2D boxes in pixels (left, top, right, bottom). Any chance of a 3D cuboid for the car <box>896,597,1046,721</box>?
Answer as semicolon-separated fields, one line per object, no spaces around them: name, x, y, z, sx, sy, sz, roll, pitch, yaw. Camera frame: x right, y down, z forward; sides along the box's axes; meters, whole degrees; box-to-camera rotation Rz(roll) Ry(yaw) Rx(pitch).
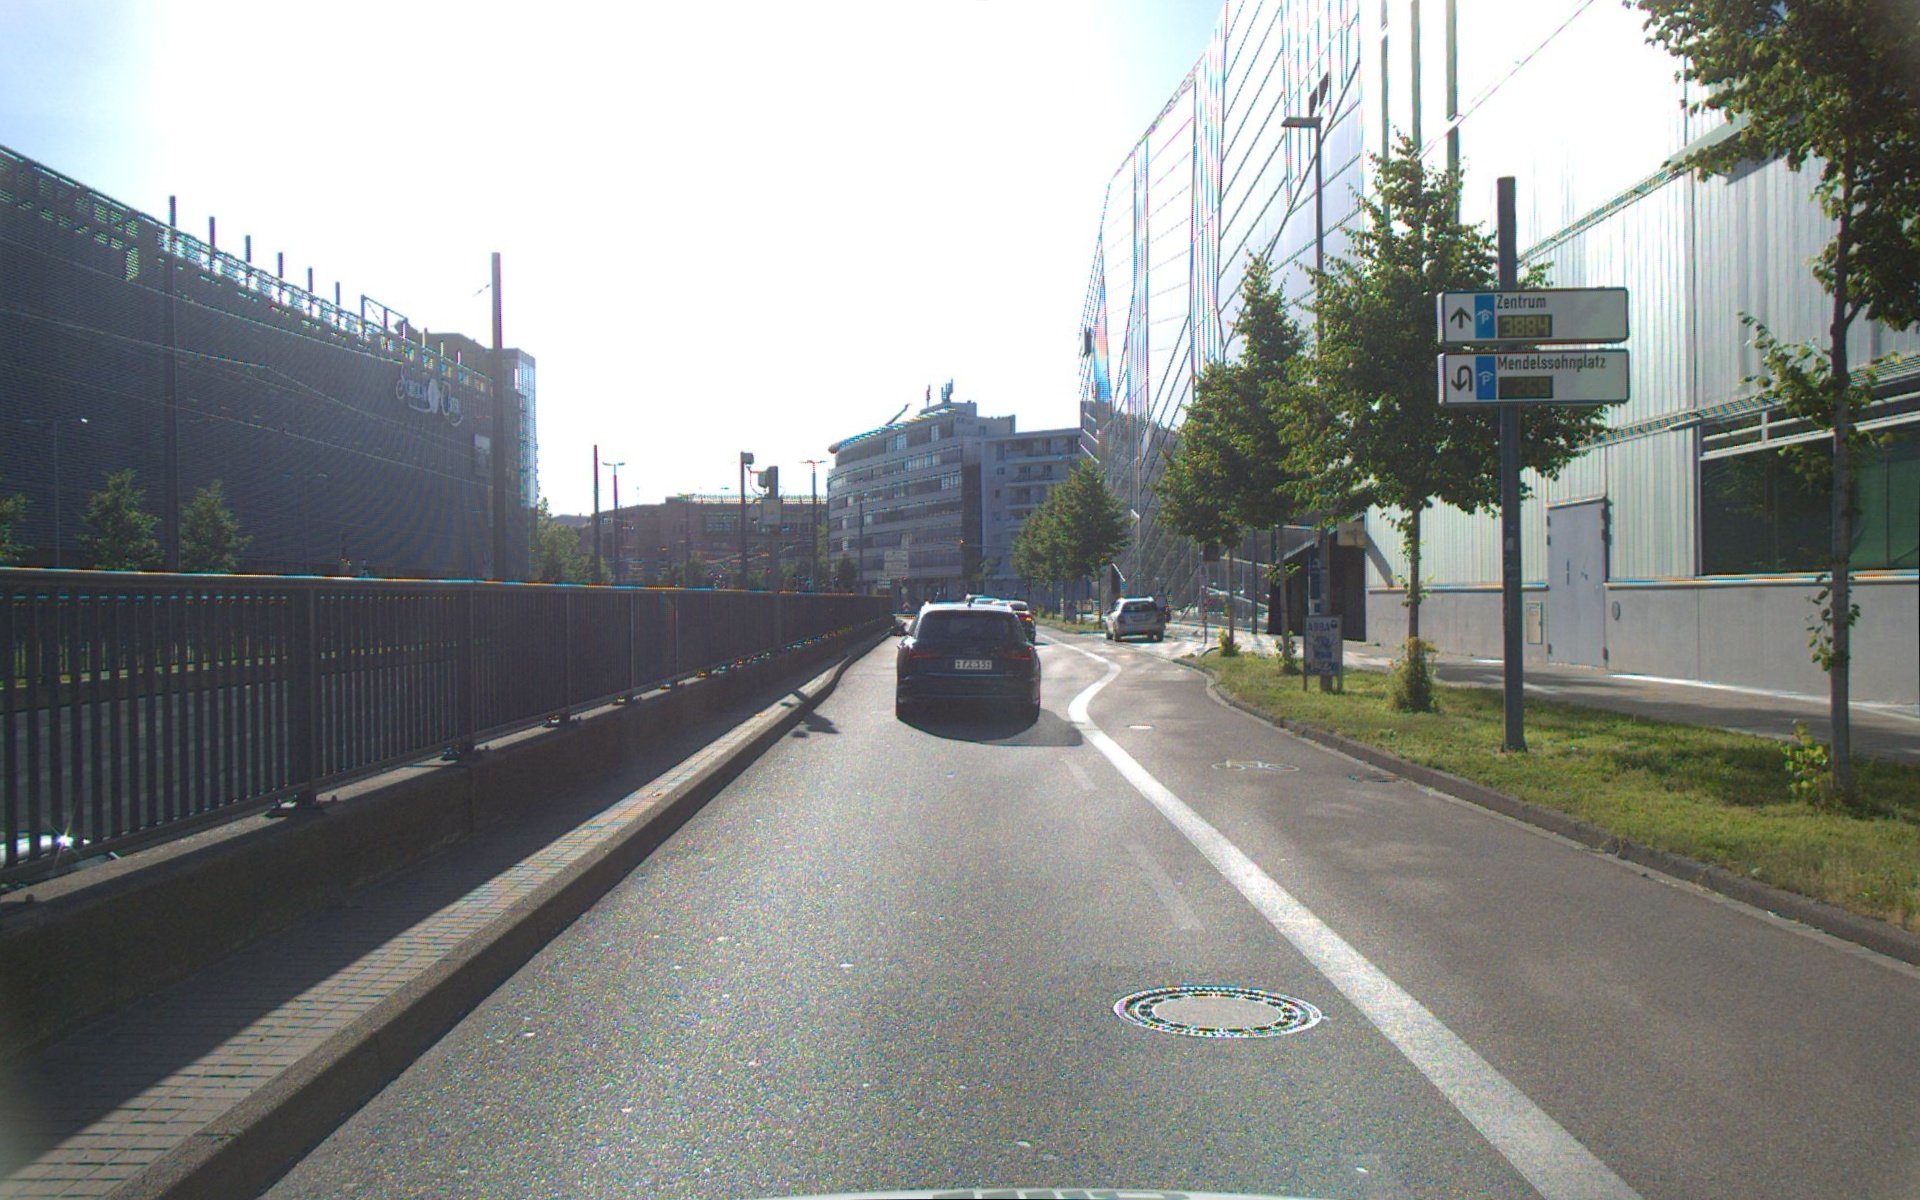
car;0.086;0.714;22.160;1.775;1.452;4.688;-1;0;-1

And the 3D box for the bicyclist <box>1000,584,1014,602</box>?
bicyclist;3.392;-0.518;120.166;0.713;1.291;1.031;-2;0;-16

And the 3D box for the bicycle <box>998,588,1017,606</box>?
bicycle;3.464;-0.217;120.175;0.713;1.204;2.084;-2;0;-16

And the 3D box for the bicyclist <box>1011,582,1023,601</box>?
bicyclist;4.323;-0.632;125.766;0.710;1.443;0.890;-2;0;-7

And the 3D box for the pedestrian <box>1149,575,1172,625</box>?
pedestrian;8.440;0.000;69.532;0.819;2.049;0.689;-2;0;0

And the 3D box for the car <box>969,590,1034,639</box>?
car;1.369;0.448;55.995;1.816;1.573;3.997;1;0;-4

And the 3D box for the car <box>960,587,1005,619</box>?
car;1.082;0.126;81.188;1.954;1.491;3.998;0;1;-3

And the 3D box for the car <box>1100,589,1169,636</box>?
car;6.215;0.410;59.274;1.815;1.506;4.853;-2;1;-1

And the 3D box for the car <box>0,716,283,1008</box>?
car;-7.040;1.846;12.394;1.761;1.553;4.912;1;0;2

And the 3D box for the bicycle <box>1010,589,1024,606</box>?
bicycle;4.325;-0.197;125.745;0.710;1.204;2.090;-2;0;-7
